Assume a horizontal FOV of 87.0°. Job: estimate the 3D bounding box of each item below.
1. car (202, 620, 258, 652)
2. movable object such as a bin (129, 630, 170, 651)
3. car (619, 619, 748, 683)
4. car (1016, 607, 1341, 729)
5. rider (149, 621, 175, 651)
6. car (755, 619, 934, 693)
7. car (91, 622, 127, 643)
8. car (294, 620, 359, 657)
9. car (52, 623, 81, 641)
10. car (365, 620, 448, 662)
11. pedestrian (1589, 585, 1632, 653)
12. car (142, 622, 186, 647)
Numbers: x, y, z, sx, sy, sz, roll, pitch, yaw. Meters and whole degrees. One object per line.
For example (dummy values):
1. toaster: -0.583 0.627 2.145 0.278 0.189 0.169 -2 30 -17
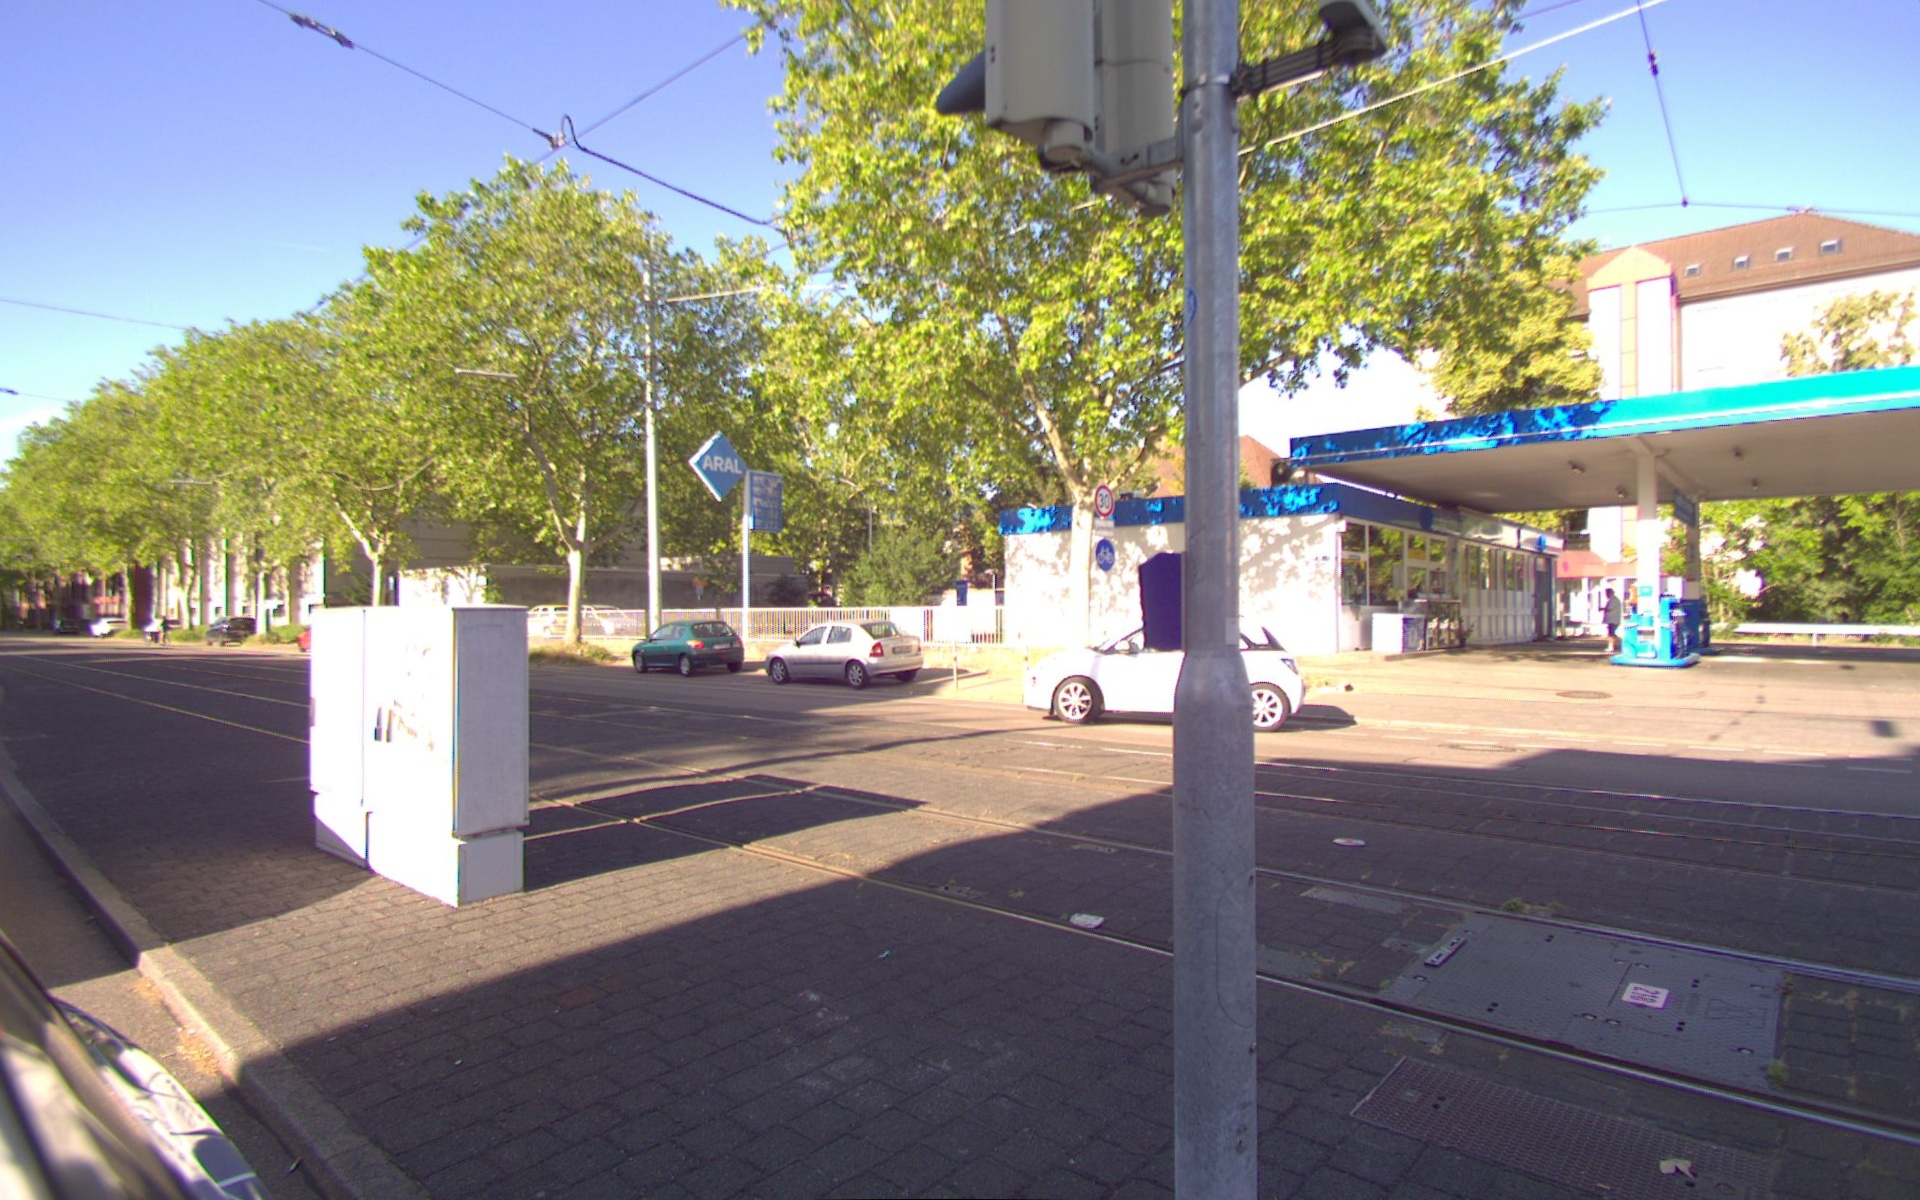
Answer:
1. car: -40.748 1.996 56.449 3.878 1.603 1.731 -1 2 43
2. movable object such as a bin: -45.606 2.261 56.934 1.826 1.111 1.168 -1 0 28
3. car: -7.419 1.302 27.005 3.606 1.455 1.598 -1 2 43
4. car: 2.787 0.879 13.315 3.894 1.446 1.737 0 -4 12
5. rider: -44.427 1.995 56.339 1.101 1.660 0.719 -1 0 28
6. car: -2.634 1.193 22.598 3.987 1.376 1.666 -2 3 41
7. car: -66.791 2.516 79.413 3.731 1.471 1.639 -1 2 43
8. car: -28.794 1.708 45.982 3.377 1.506 1.639 -1 2 43
9. car: -85.038 3.030 96.333 3.731 1.471 1.639 -1 2 43
10. car: -21.849 1.575 39.908 3.769 1.455 1.701 -1 2 43
11. pedestrian: 16.647 0.496 25.898 0.847 1.715 0.640 -1 -3 40
12. car: -53.704 2.299 68.246 3.878 1.552 1.731 -1 2 43
